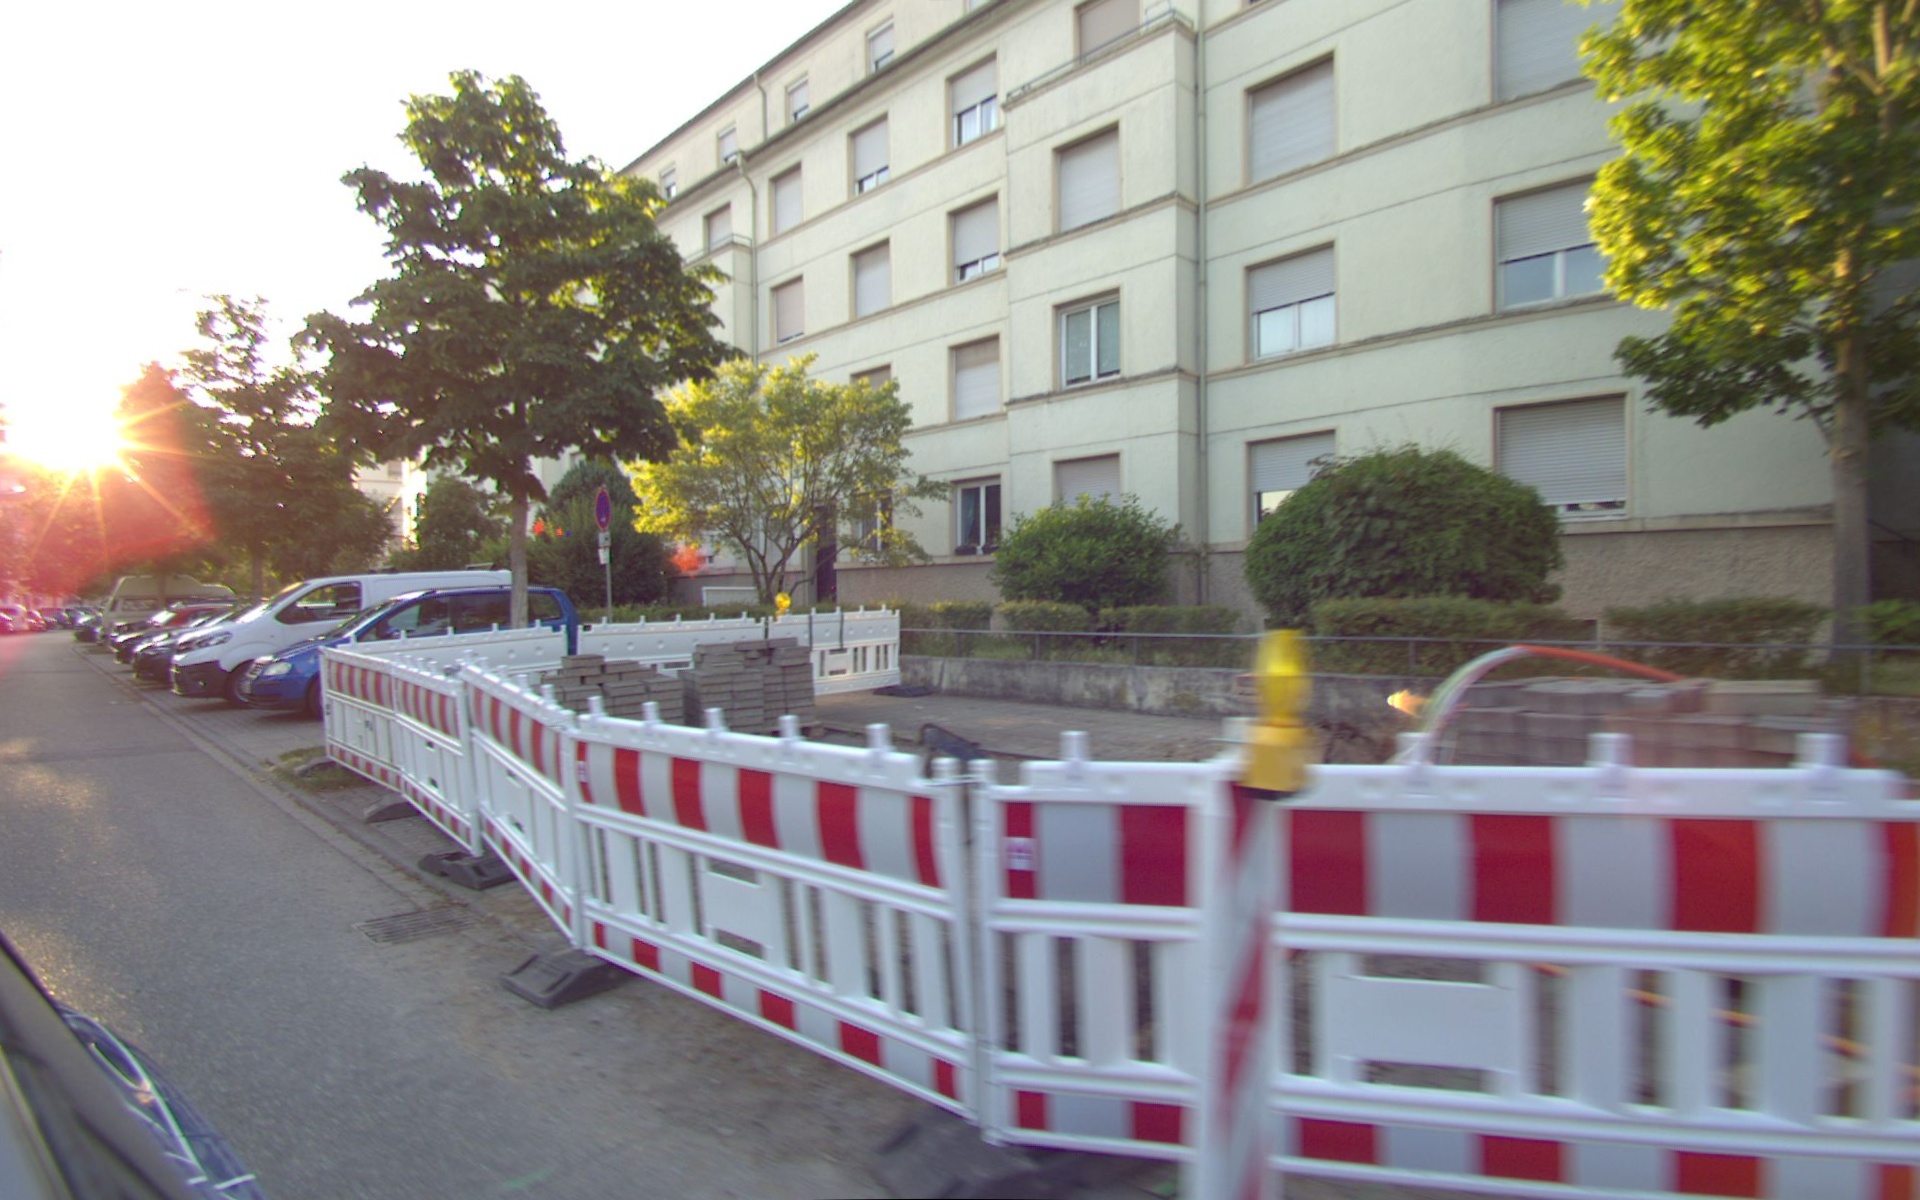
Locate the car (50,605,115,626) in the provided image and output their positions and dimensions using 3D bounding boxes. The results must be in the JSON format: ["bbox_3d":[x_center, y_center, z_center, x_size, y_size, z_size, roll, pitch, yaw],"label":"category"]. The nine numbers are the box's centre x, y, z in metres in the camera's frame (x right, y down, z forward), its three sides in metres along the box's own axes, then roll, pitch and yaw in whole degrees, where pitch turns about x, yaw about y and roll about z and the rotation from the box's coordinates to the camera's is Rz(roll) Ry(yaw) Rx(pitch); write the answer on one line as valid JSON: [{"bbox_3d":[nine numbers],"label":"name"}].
[{"bbox_3d":[-93.545,1.644,107.940,4.891,2.117,2.158,-2,1,-29],"label":"car"}]

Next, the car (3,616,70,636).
[{"bbox_3d":[-79.141,2.201,86.763,3.933,1.557,1.850,3,-3,-34],"label":"car"}]

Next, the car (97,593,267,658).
[{"bbox_3d":[-23.429,0.702,30.560,1.843,1.790,3.818,0,1,43],"label":"car"}]

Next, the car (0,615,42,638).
[{"bbox_3d":[-68.339,1.894,72.185,3.934,1.631,1.899,2,-2,-36],"label":"car"}]

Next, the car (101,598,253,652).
[{"bbox_3d":[-25.443,0.778,32.947,3.813,1.607,1.788,-2,0,-41],"label":"car"}]

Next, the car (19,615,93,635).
[{"bbox_3d":[-81.436,2.303,91.231,4.630,1.644,2.006,3,-3,-32],"label":"car"}]

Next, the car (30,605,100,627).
[{"bbox_3d":[-84.254,1.528,95.352,4.524,1.876,2.018,4,-3,-32],"label":"car"}]

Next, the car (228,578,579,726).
[{"bbox_3d":[-7.667,0.609,14.191,1.800,1.765,3.943,-1,0,43],"label":"car"}]

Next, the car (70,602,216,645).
[{"bbox_3d":[-30.394,0.845,37.706,4.124,1.436,2.002,-2,0,-42],"label":"car"}]

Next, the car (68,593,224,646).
[{"bbox_3d":[-31.801,0.734,39.618,4.617,1.888,2.002,-2,0,-42],"label":"car"}]

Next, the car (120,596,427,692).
[{"bbox_3d":[-13.349,0.768,19.905,4.717,1.481,1.882,-3,2,-45],"label":"car"}]

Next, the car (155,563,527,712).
[{"bbox_3d":[-9.719,0.482,16.173,2.001,2.029,4.717,-1,0,45],"label":"car"}]

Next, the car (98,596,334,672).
[{"bbox_3d":[-18.128,0.771,24.814,1.899,1.627,4.360,-1,0,42],"label":"car"}]

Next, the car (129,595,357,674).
[{"bbox_3d":[-16.329,0.721,23.185,1.801,1.590,3.945,-1,0,42],"label":"car"}]

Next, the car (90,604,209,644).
[{"bbox_3d":[-33.402,0.968,41.745,3.723,1.449,1.658,-2,1,-41],"label":"car"}]

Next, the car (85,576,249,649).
[{"bbox_3d":[-28.261,0.395,36.132,4.448,2.449,2.002,-2,0,-42],"label":"car"}]

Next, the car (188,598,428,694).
[{"bbox_3d":[-11.726,0.766,18.289,3.374,1.495,1.760,-2,0,-43],"label":"car"}]

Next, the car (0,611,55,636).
[{"bbox_3d":[-71.722,1.774,76.463,4.722,1.767,2.022,3,-4,-35],"label":"car"}]

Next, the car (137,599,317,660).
[{"bbox_3d":[-21.025,0.805,29.128,1.790,1.536,3.943,-1,0,43],"label":"car"}]

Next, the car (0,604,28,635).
[{"bbox_3d":[-62.070,1.268,64.337,3.934,1.918,2.005,-2,0,-36],"label":"car"}]

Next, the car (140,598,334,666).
[{"bbox_3d":[-19.275,0.804,27.110,1.731,1.595,3.945,-1,0,42],"label":"car"}]
